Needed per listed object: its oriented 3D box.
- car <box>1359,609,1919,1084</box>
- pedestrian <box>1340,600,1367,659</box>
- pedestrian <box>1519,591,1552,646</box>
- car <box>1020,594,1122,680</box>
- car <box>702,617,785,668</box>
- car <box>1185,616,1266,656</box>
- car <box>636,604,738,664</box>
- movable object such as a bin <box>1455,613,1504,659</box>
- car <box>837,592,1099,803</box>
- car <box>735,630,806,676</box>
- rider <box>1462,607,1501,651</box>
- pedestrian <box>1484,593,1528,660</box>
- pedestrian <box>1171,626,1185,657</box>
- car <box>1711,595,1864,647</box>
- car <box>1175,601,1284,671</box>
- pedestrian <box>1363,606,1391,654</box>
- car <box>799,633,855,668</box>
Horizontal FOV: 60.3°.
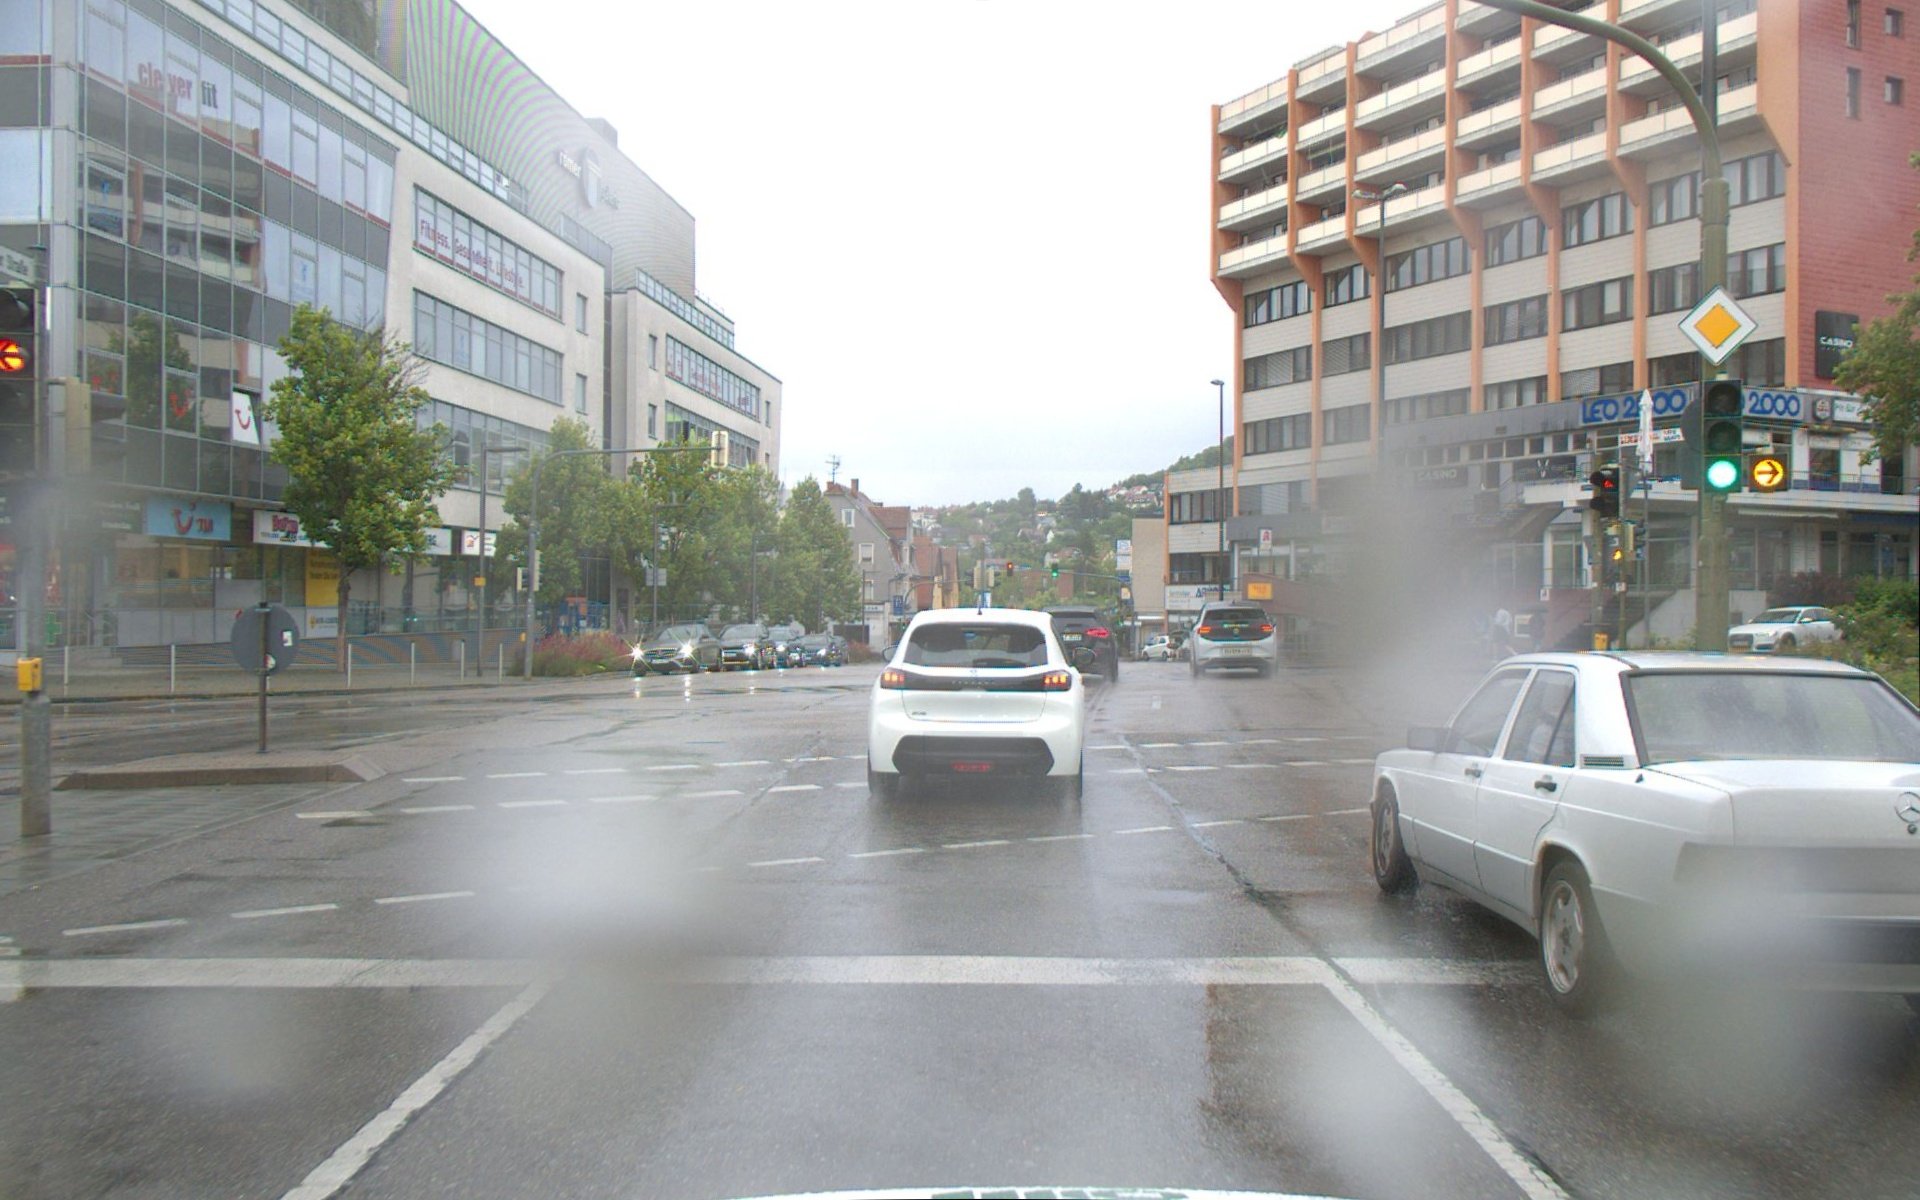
[{"bbox_3d":[3.115,0.825,7.355,1.600,1.474,4.268,2,-1,0],"label":"car"},{"bbox_3d":[11.129,0.833,46.828,0.692,1.635,0.656,0,-1,9],"label":"pedestrian"},{"bbox_3d":[18.188,0.581,52.299,0.777,1.698,0.931,0,-1,5],"label":"pedestrian"},{"bbox_3d":[2.235,0.718,32.424,1.777,1.557,3.815,-1,-1,7],"label":"car"},{"bbox_3d":[-7.588,1.475,58.341,1.836,1.622,4.526,-4,-1,6],"label":"car"},{"bbox_3d":[15.387,2.076,96.050,1.973,2.265,4.924,0,-1,-31],"label":"car"},{"bbox_3d":[-7.978,1.027,48.724,1.880,1.660,4.904,-1,-2,4],"label":"car"},{"bbox_3d":[16.451,1.161,52.396,1.106,1.355,1.455,-3,-4,5],"label":"movable object such as a bin"},{"bbox_3d":[0.217,0.711,13.902,1.832,1.488,3.875,1,0,5],"label":"car"},{"bbox_3d":[-7.404,2.066,65.080,1.736,1.622,4.590,-4,-1,6],"label":"car"},{"bbox_3d":[16.475,0.902,52.299,0.903,1.307,1.091,-3,0,5],"label":"rider"},{"bbox_3d":[14.359,0.696,43.542,0.811,1.720,1.129,0,-1,3],"label":"pedestrian"},{"bbox_3d":[13.205,2.537,100.268,0.632,1.854,0.577,0,-1,-28],"label":"pedestrian"},{"bbox_3d":[24.629,0.620,49.186,4.725,1.431,1.794,0,-2,-31],"label":"car"},{"bbox_3d":[5.706,0.748,35.325,1.872,1.425,3.458,0,-1,2],"label":"car"},{"bbox_3d":[11.974,0.863,47.550,0.692,1.369,0.656,-1,-1,8],"label":"pedestrian"},{"bbox_3d":[-5.704,2.154,71.420,1.689,1.412,4.602,-1,-1,4],"label":"car"}]
